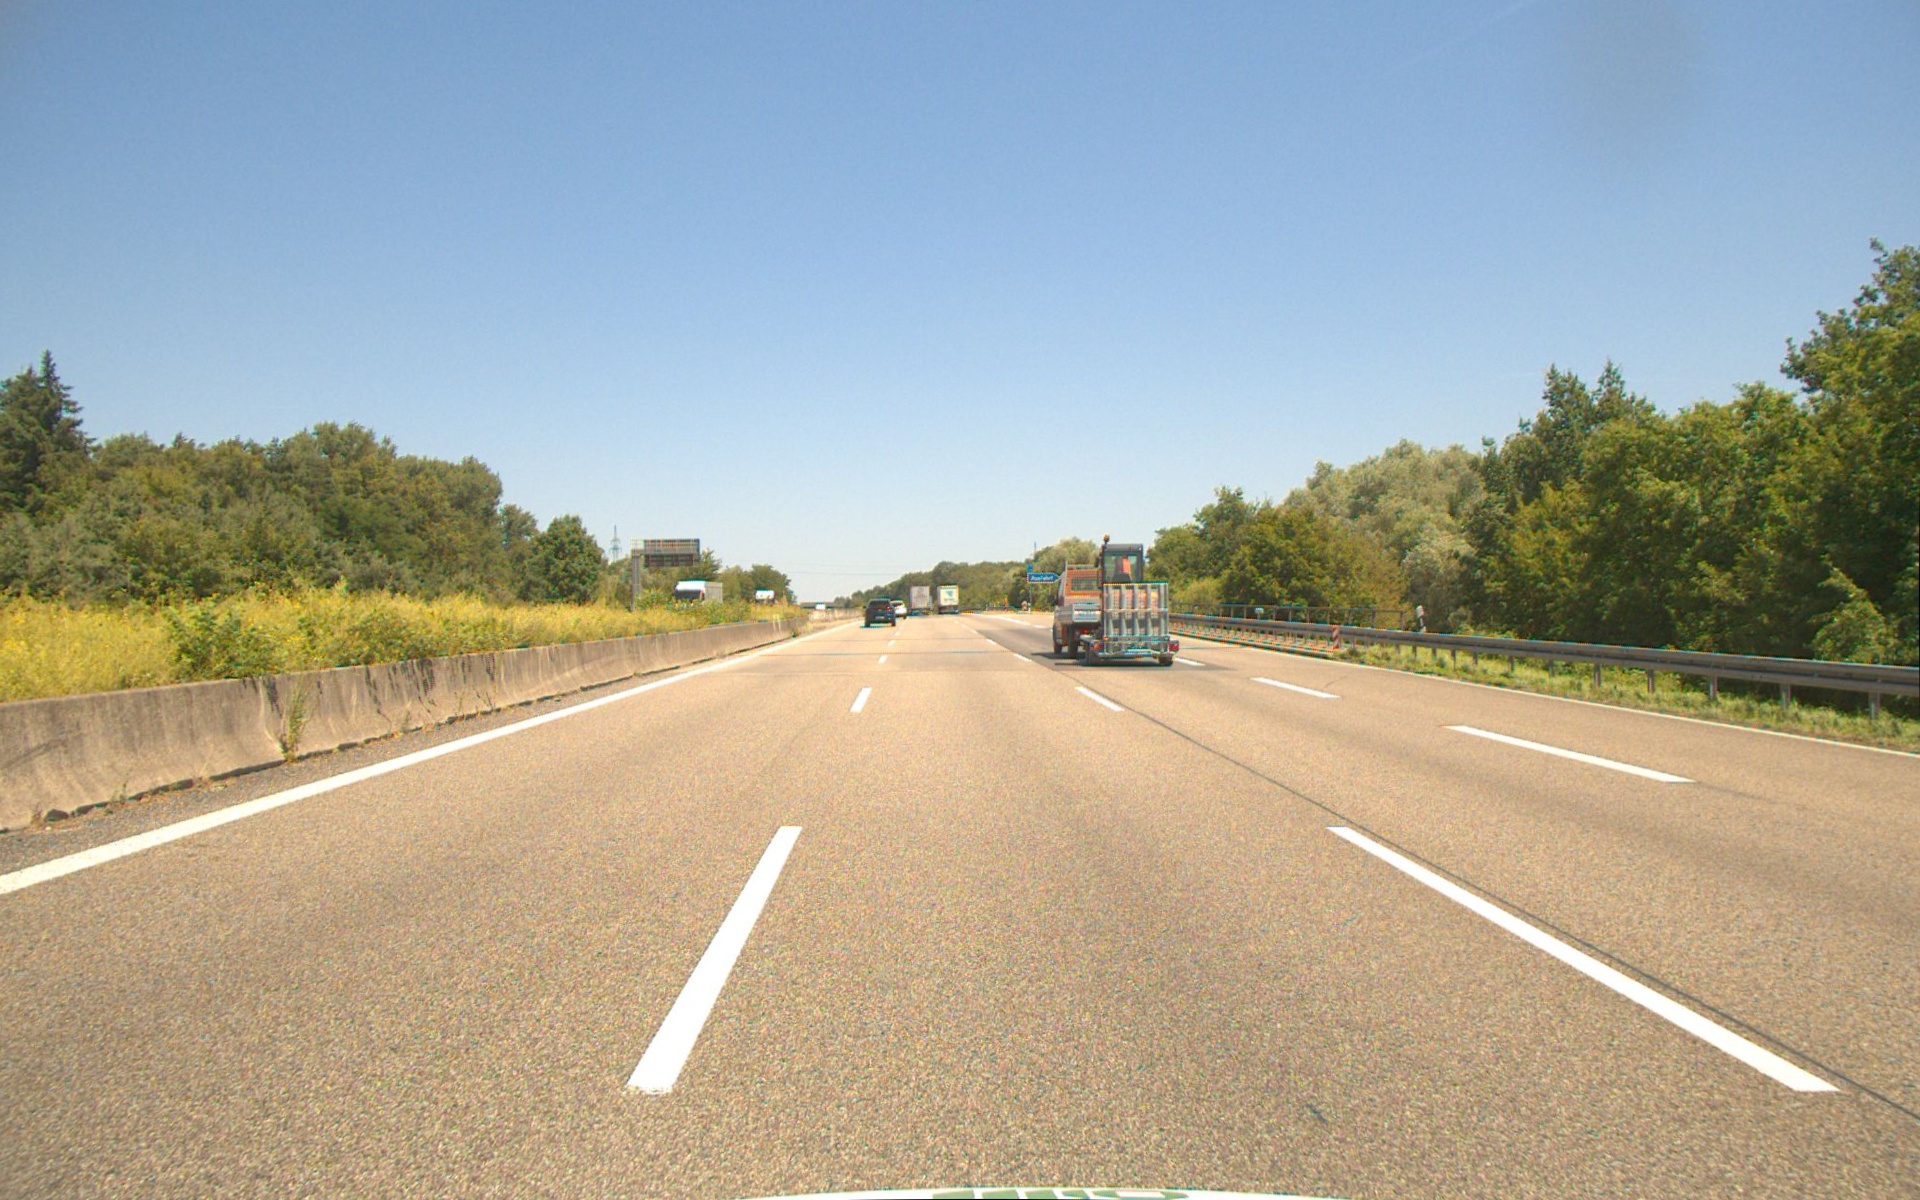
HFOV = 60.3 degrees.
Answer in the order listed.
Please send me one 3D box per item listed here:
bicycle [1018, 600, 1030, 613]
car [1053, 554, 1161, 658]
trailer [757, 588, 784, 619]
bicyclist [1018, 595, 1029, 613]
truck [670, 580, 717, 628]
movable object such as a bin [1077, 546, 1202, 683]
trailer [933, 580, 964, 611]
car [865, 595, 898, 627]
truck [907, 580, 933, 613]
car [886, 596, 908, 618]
[{"bbox_3d":[6.107,0.619,158.709,0.940,1.178,2.609,1,0,7],"label":"bicycle"},{"bbox_3d":[3.786,0.160,43.887,1.953,2.447,7.224,-2,0,-2],"label":"car"},{"bbox_3d":[-25.570,0.461,223.422,2.751,4.118,10.425,1,0,-3],"label":"trailer"},{"bbox_3d":[6.092,0.385,158.605,0.940,1.623,0.808,1,0,6],"label":"bicyclist"},{"bbox_3d":[-24.071,0.342,149.755,2.924,4.147,8.190,-2,0,-1],"label":"truck"},{"bbox_3d":[4.031,0.321,37.923,2.130,2.864,4.759,-2,0,-2],"label":"movable object such as a bin"},{"bbox_3d":[-1.638,-0.657,233.898,3.303,4.215,9.077,1,0,-7],"label":"trailer"},{"bbox_3d":[-4.969,0.671,105.093,1.953,1.907,3.999,-2,0,-2],"label":"car"},{"bbox_3d":[-5.357,-0.501,220.310,3.165,4.275,8.461,0,0,-3],"label":"truck"},{"bbox_3d":[-5.750,0.661,151.734,1.953,1.907,3.999,-1,0,-2],"label":"car"}]
